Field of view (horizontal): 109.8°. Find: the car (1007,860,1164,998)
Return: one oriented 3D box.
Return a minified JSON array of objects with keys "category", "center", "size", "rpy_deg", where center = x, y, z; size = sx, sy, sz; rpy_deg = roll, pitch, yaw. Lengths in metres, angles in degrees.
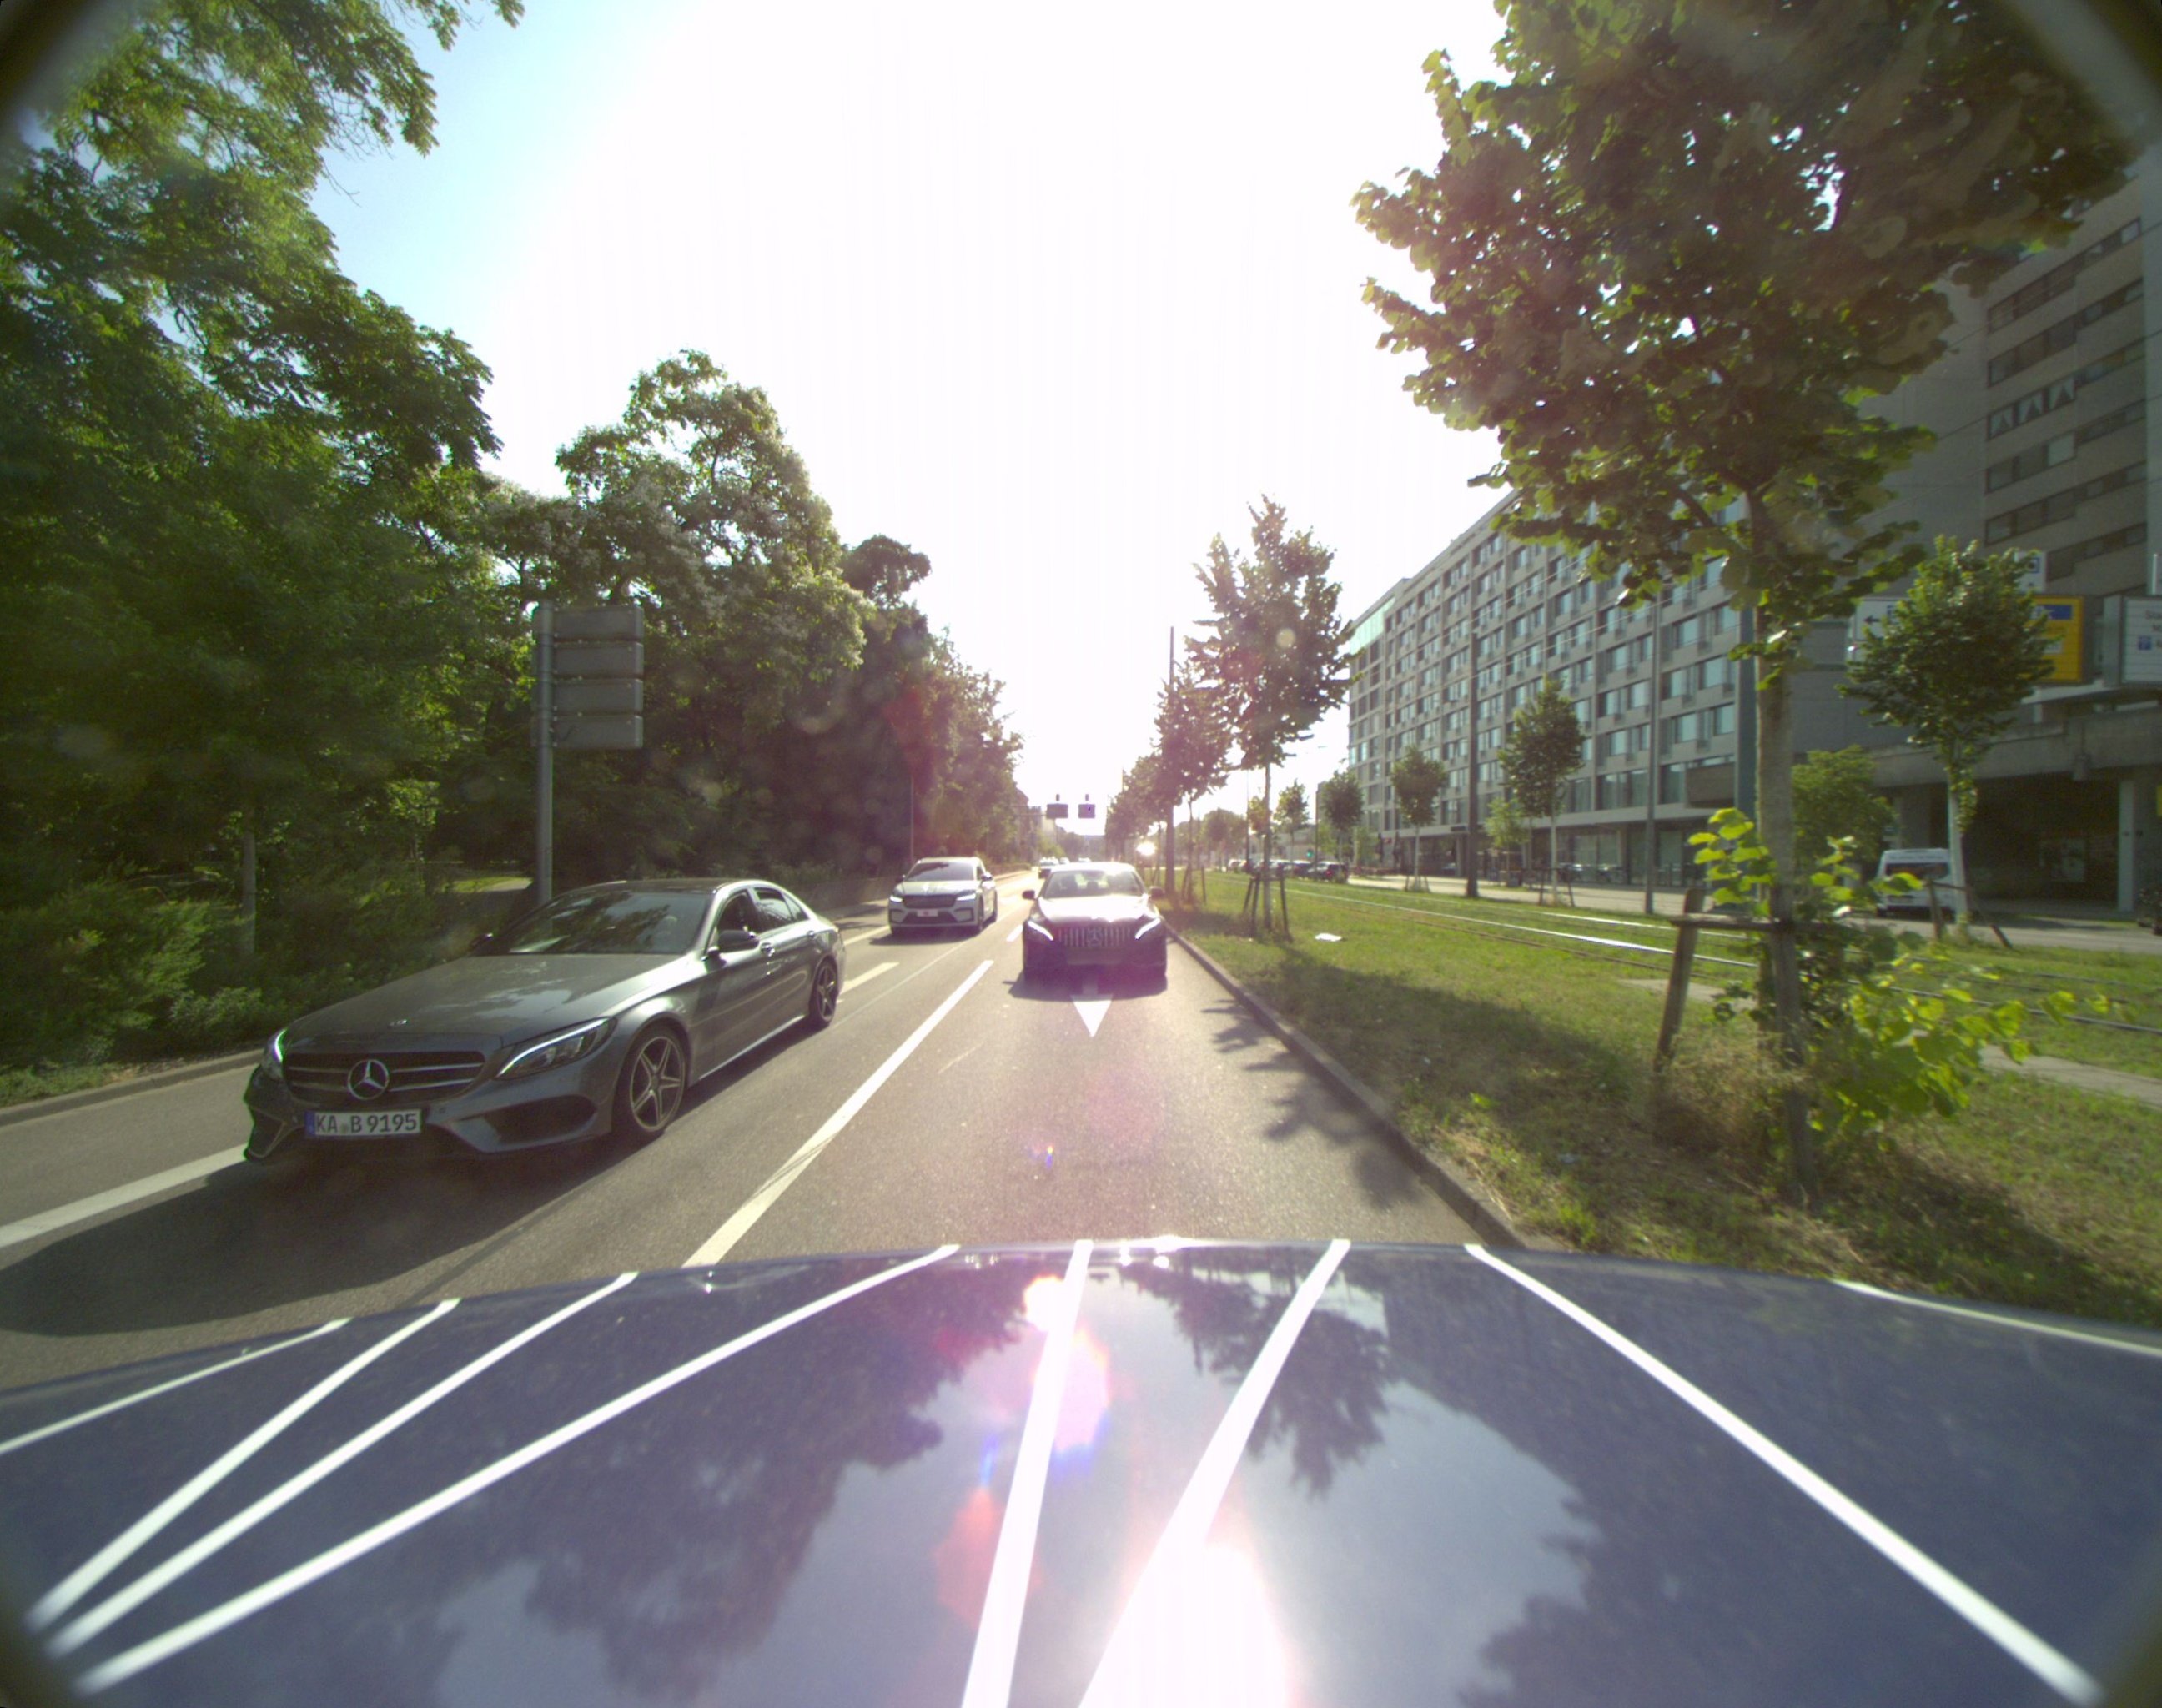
[{"category":"car","center":[0.106,0.882,11.027],"size":[1.759,1.437,4.617],"rpy_deg":[-2,1,1]}]

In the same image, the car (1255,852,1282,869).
[{"category":"car","center":[18.101,0.627,73.342],"size":[1.811,1.565,4.001],"rpy_deg":[1,0,3]}]

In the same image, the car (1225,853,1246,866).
[{"category":"car","center":[18.272,0.625,90.062],"size":[1.787,1.516,4.000],"rpy_deg":[1,0,1]}]

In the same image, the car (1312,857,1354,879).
[{"category":"car","center":[17.762,0.961,53.800],"size":[1.811,1.472,4.001],"rpy_deg":[1,0,3]}]

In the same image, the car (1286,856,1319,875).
[{"category":"car","center":[17.905,0.924,61.484],"size":[1.745,1.478,3.642],"rpy_deg":[0,0,3]}]

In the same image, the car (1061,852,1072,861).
[{"category":"car","center":[-2.653,0.477,141.781],"size":[1.904,1.584,4.000],"rpy_deg":[1,0,1]}]

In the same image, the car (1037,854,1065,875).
[{"category":"car","center":[-2.337,0.794,59.851],"size":[1.998,1.630,4.000],"rpy_deg":[0,0,1]}]

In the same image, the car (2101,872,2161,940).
[{"category":"car","center":[29.102,1.328,19.965],"size":[2.097,1.573,4.008],"rpy_deg":[-2,0,44]}]

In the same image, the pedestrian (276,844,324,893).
[{"category":"pedestrian","center":[-29.687,0.521,28.898],"size":[0.983,1.820,1.072],"rpy_deg":[1,1,31]}]

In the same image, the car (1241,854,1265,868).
[{"category":"car","center":[18.167,0.715,80.289],"size":[1.811,1.466,4.001],"rpy_deg":[1,0,3]}]

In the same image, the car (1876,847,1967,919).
[{"category":"car","center":[29.683,0.929,26.781],"size":[5.420,2.295,1.879],"rpy_deg":[0,1,-39]}]

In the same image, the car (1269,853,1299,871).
[{"category":"car","center":[18.074,0.678,67.864],"size":[1.811,1.565,4.001],"rpy_deg":[1,0,3]}]

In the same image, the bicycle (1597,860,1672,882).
[{"category":"bicycle","center":[37.249,1.137,51.222],"size":[3.993,1.358,1.127],"rpy_deg":[1,1,10]}]

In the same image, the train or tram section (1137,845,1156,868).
[{"category":"train or tram section","center":[10.089,0.393,117.916],"size":[2.500,3.409,6.669],"rpy_deg":[1,0,2]}]

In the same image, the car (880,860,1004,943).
[{"category":"car","center":[-2.943,0.949,17.016],"size":[1.897,1.561,4.250],"rpy_deg":[-1,0,1]}]
